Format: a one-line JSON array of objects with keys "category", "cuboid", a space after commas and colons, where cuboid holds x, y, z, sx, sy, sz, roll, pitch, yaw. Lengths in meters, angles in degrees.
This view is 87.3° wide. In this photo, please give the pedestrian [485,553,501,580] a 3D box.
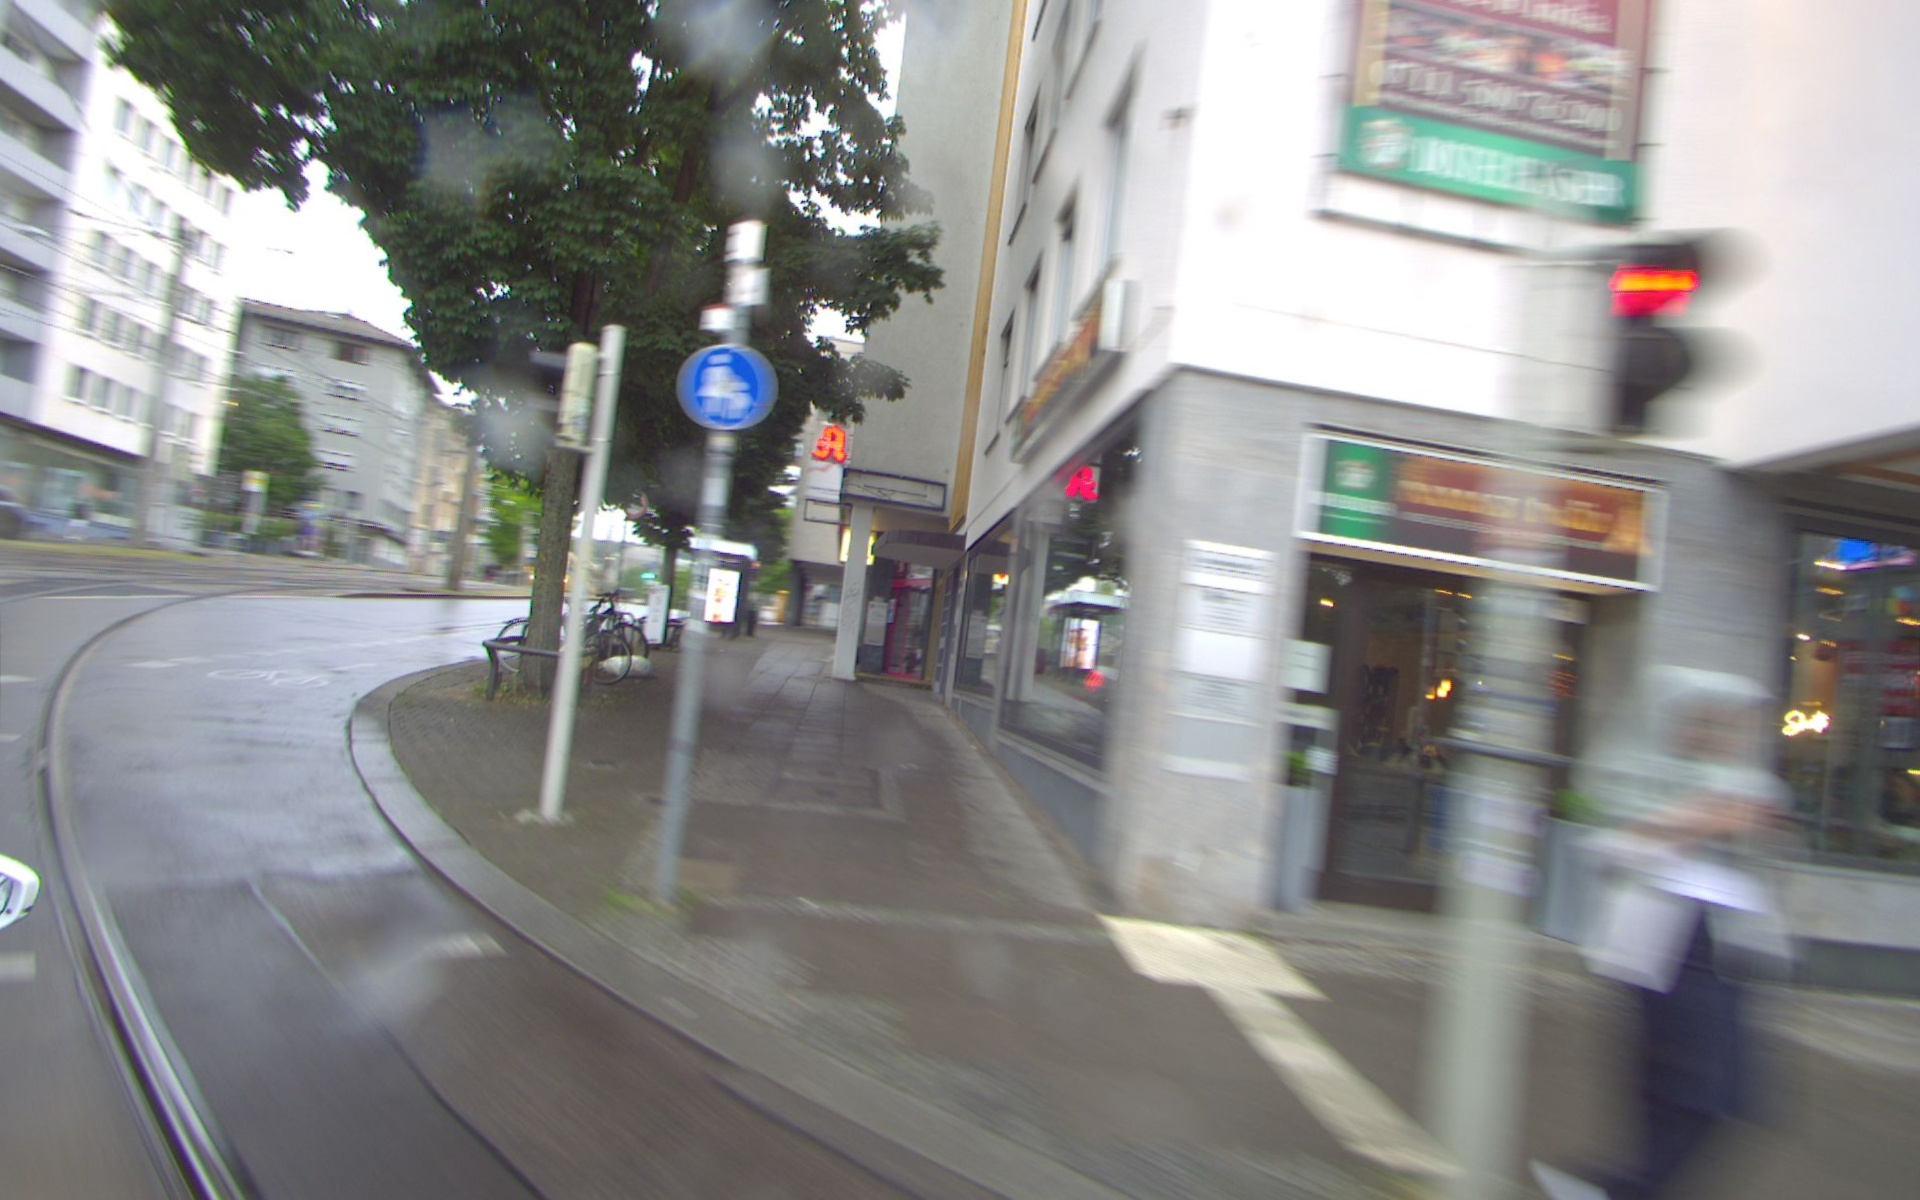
[{"category": "pedestrian", "cuboid": [-33.947, -2.429, 73.191, 0.722, 1.812, 0.695, 7, 0, -11]}]

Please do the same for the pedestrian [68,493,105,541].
[{"category": "pedestrian", "cuboid": [-34.525, -3.282, 39.763, 0.589, 1.759, 0.908, 7, 0, -11]}]

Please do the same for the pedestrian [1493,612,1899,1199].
[{"category": "pedestrian", "cuboid": [1.969, 0.951, 2.783, 0.694, 1.732, 0.528, 6, -1, 32]}]

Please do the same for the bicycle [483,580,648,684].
[{"category": "bicycle", "cuboid": [-5.101, 0.413, 13.092, 1.791, 1.105, 0.648, 7, 1, -6]}]

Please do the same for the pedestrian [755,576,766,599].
[{"category": "pedestrian", "cuboid": [-16.527, -1.044, 83.332, 0.691, 1.806, 1.064, 7, 0, -13]}]

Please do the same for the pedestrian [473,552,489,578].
[{"category": "pedestrian", "cuboid": [-34.786, -2.541, 73.074, 0.722, 1.812, 0.695, 7, 0, -11]}]

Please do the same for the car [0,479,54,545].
[{"category": "car", "cuboid": [-27.108, -2.569, 26.937, 1.966, 1.693, 4.521, 7, -1, -9]}]

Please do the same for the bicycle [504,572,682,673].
[{"category": "bicycle", "cuboid": [-5.431, 0.349, 15.010, 2.283, 1.187, 0.649, 8, -2, -6]}]

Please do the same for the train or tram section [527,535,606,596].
[{"category": "train or tram section", "cuboid": [-33.446, -2.701, 86.434, 2.710, 3.737, 18.947, 8, -3, -11]}]
